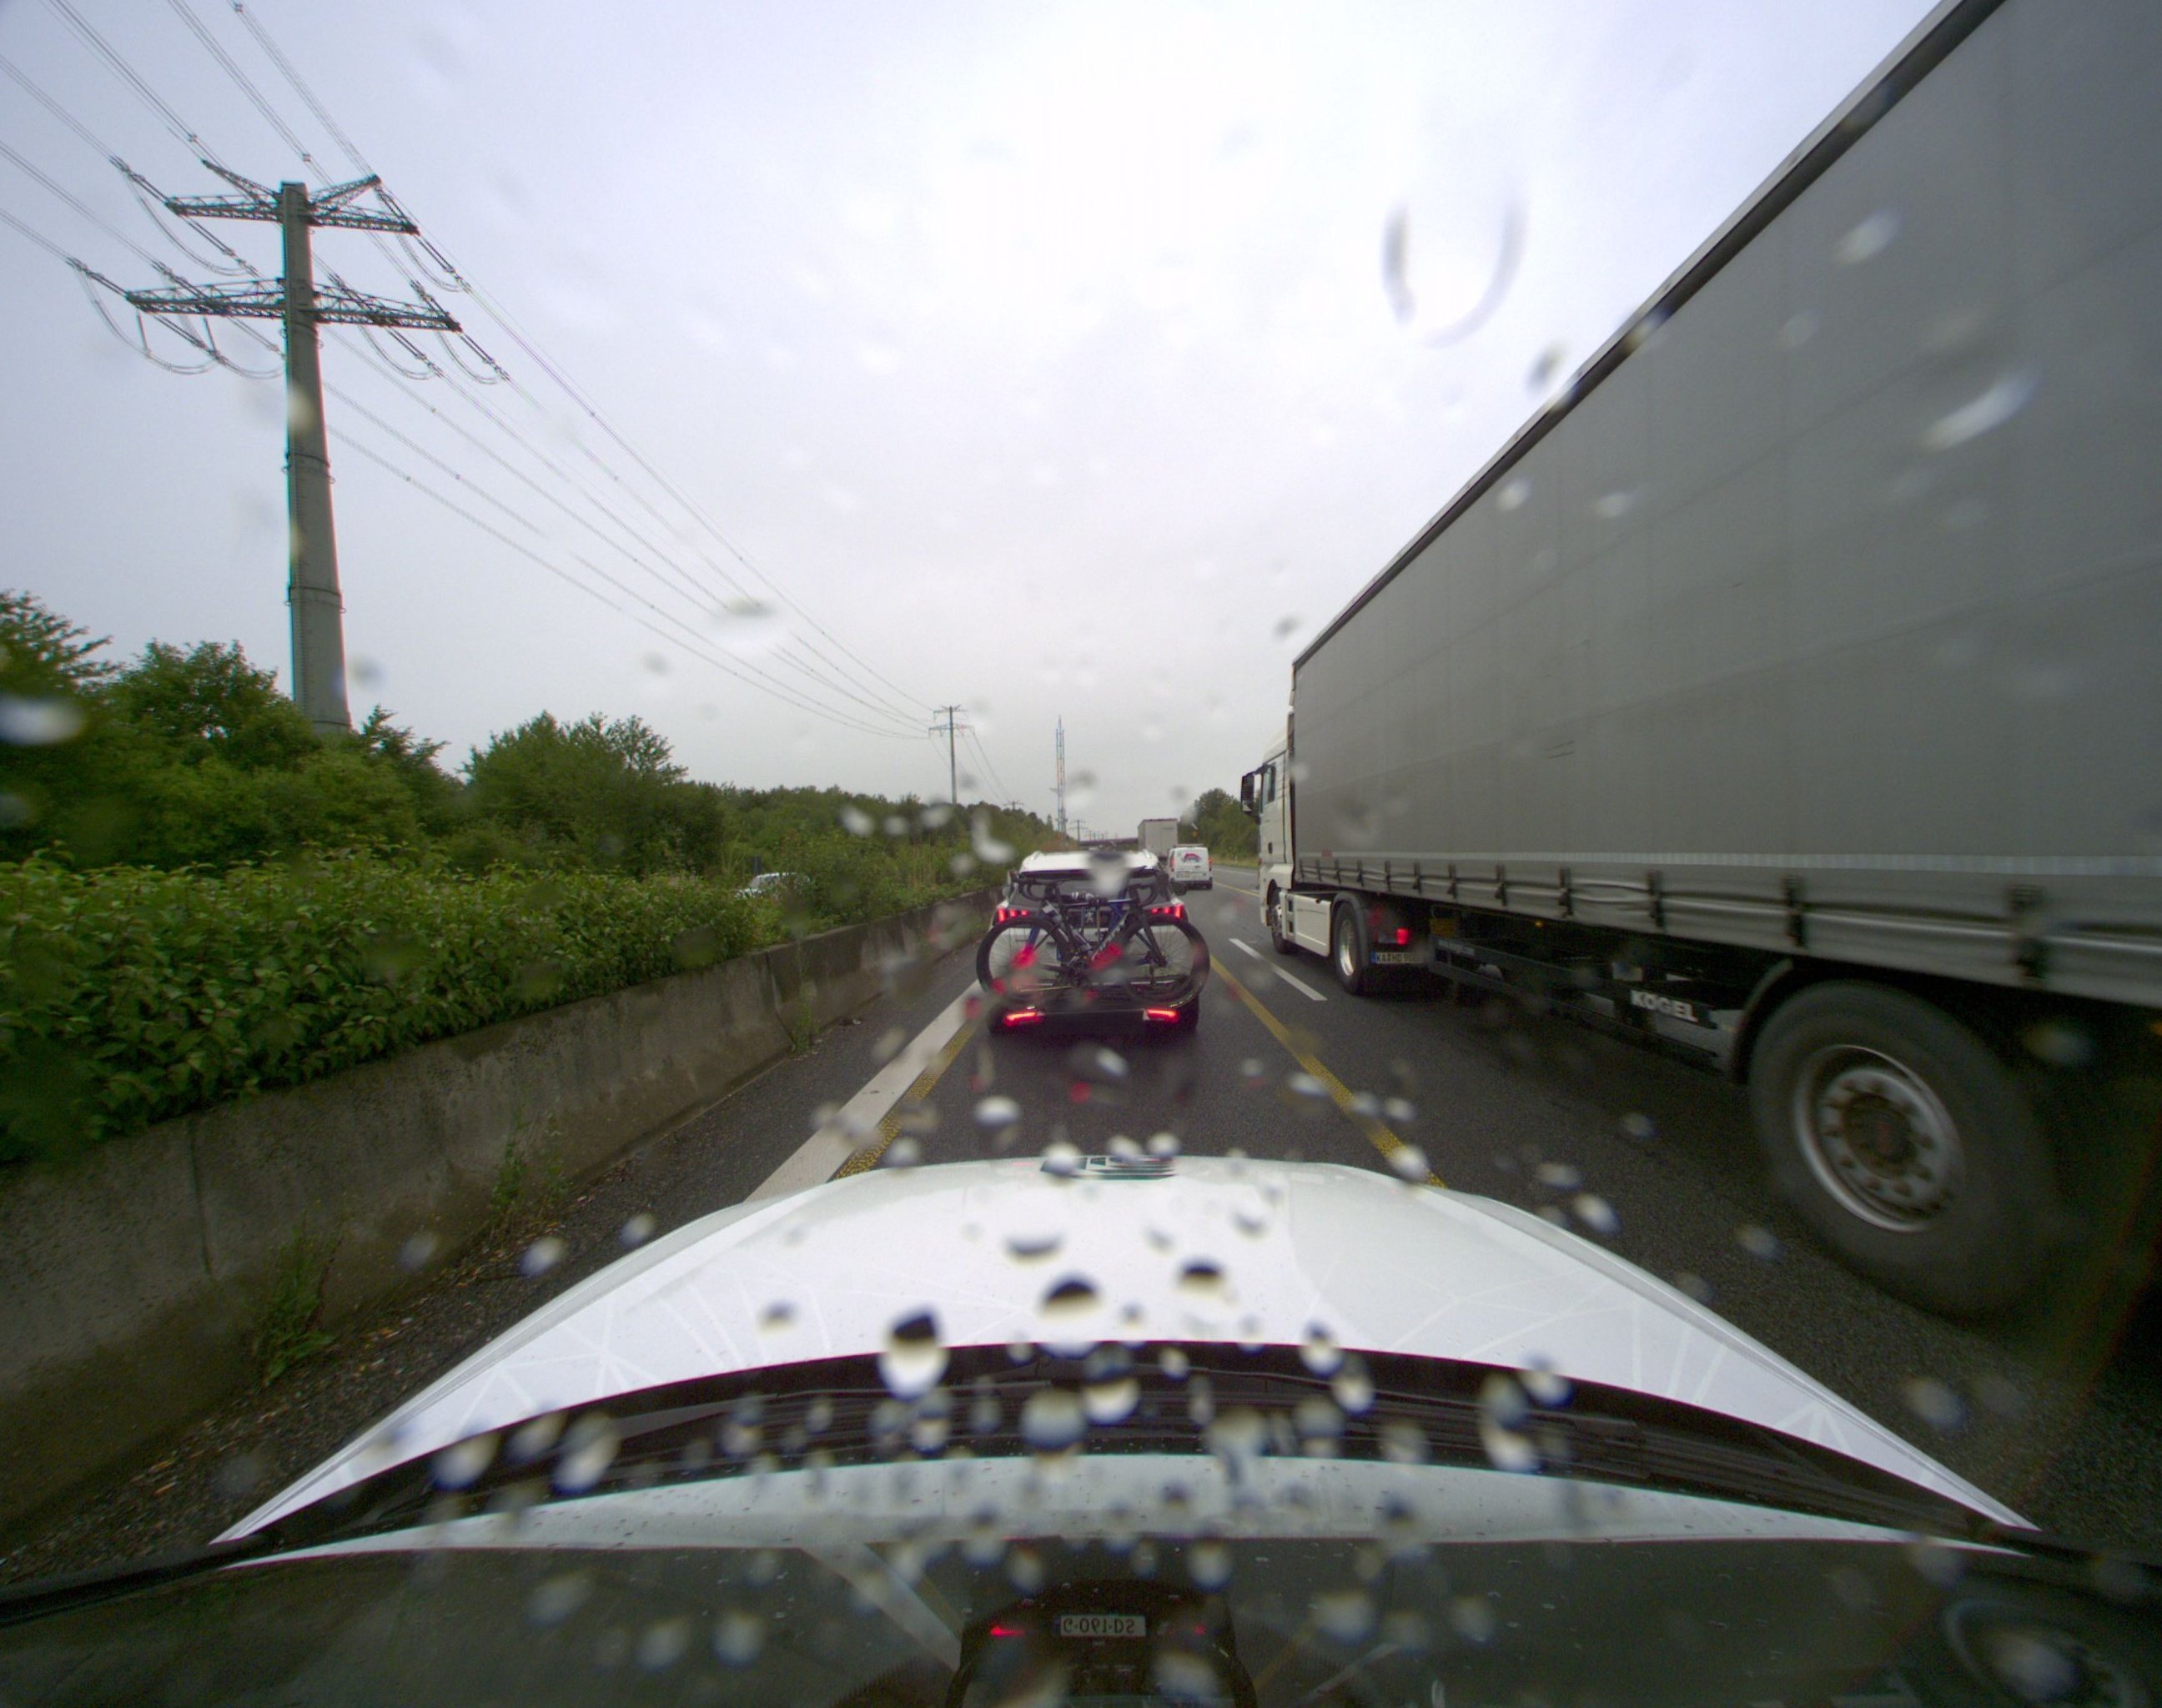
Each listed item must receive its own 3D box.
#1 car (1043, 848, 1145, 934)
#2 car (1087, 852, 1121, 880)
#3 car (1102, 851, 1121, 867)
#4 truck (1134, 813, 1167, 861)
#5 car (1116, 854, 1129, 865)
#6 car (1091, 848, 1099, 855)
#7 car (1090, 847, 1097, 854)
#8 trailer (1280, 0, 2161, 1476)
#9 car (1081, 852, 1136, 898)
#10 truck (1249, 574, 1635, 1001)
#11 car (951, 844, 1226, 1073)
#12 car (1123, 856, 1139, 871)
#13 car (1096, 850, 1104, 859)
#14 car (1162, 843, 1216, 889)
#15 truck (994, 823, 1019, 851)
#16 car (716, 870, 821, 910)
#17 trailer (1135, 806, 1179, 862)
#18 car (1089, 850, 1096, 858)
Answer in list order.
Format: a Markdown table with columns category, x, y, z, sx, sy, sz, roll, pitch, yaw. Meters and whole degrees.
| category | x | y | z | sx | sy | sz | roll | pitch | yaw |
| --- | --- | --- | --- | --- | --- | --- | --- | --- | --- |
| car | 0.301 | 0.673 | 16.863 | 1.843 | 1.531 | 4.002 | -1 | 0 | 2 |
| car | 1.316 | 0.645 | 46.785 | 1.843 | 1.531 | 4.002 | -1 | 0 | 2 |
| car | 3.112 | 0.510 | 83.498 | 1.843 | 1.531 | 4.002 | -1 | 0 | 2 |
| truck | 6.261 | -1.497 | 74.135 | 2.650 | 4.076 | 6.542 | -1 | 0 | 2 |
| car | 7.517 | 0.972 | 147.621 | 2.140 | 1.973 | 4.002 | -1 | 1 | 2 |
| car | 3.740 | -0.658 | 215.827 | 1.924 | 1.910 | 4.002 | -1 | 1 | 2 |
| car | 3.483 | -0.924 | 228.523 | 1.924 | 1.973 | 4.002 | -1 | 1 | 2 |
| trailer | 3.860 | -0.675 | 4.163 | 2.696 | 4.146 | 13.737 | -1 | 0 | 2 |
| car | 1.007 | 0.728 | 29.806 | 1.843 | 1.531 | 4.002 | -1 | 0 | 2 |
| truck | 4.118 | -0.650 | 10.836 | 2.696 | 4.138 | 5.693 | -1 | 0 | 2 |
| car | 0.126 | 0.711 | 7.943 | 1.843 | 1.531 | 4.770 | -1 | 0 | 2 |
| car | 7.117 | 1.308 | 116.792 | 2.102 | 1.973 | 4.002 | -1 | 1 | 2 |
| car | 4.706 | 0.051 | 197.502 | 1.924 | 1.973 | 4.002 | -1 | 1 | 2 |
| car | 4.588 | 0.475 | 35.131 | 1.822 | 1.839 | 4.657 | -1 | 0 | 2 |
| truck | -11.443 | -2.520 | 125.274 | 2.776 | 4.023 | 7.235 | -4 | 0 | 1 |
| car | -10.785 | 1.207 | 28.414 | 1.986 | 1.191 | 4.002 | -1 | 0 | 2 |
| trailer | 6.051 | -1.469 | 67.044 | 2.682 | 4.076 | 13.639 | -1 | 0 | 2 |
| car | 3.172 | -0.025 | 222.897 | 1.924 | 1.973 | 4.002 | -1 | 1 | 2 |
